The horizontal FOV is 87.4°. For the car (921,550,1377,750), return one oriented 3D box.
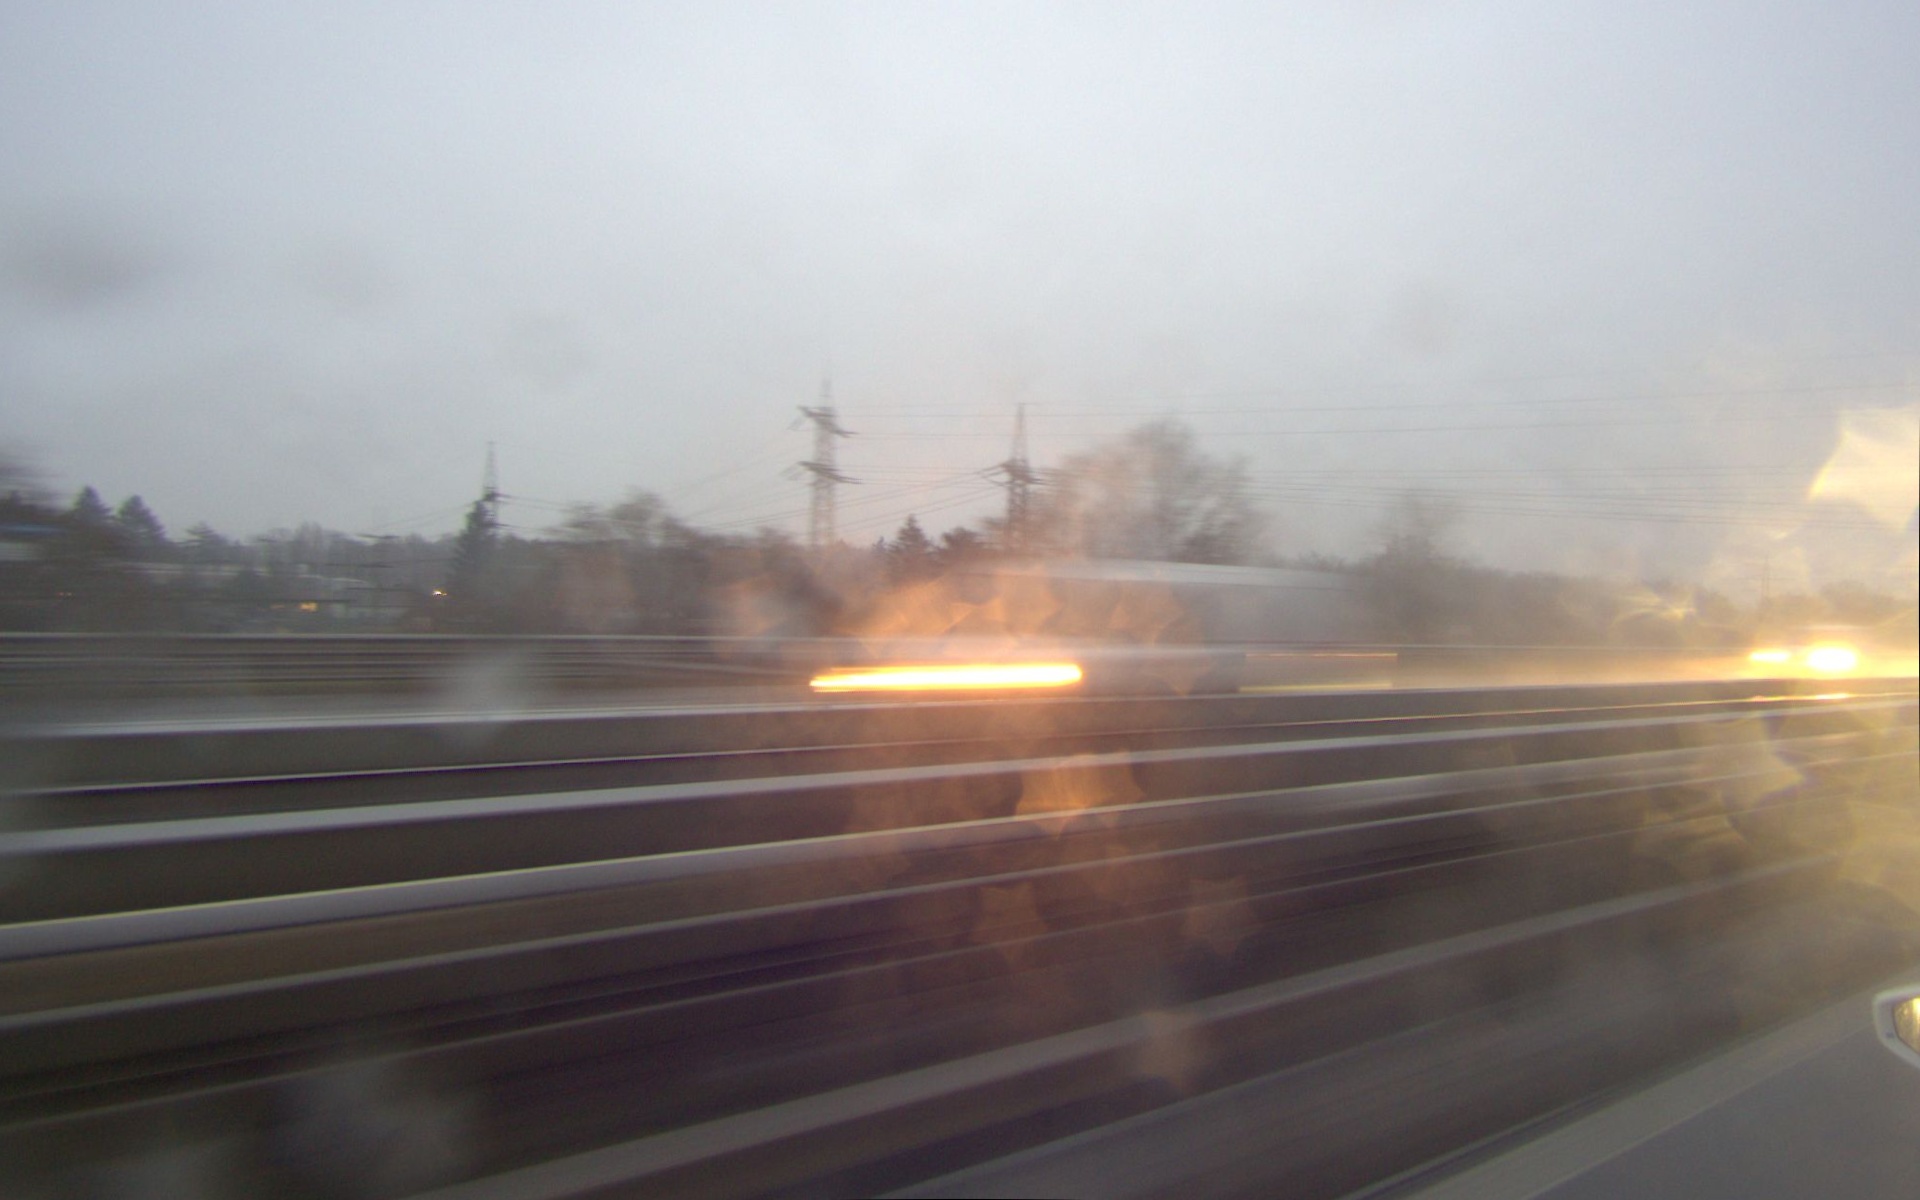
[{"bbox_3d":[1.877,0.408,9.797,4.086,1.572,1.984,0,0,-30],"label":"car"}]

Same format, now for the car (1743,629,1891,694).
[{"bbox_3d":[23.938,1.648,28.017,4.344,1.572,1.973,0,0,-33],"label":"car"}]
